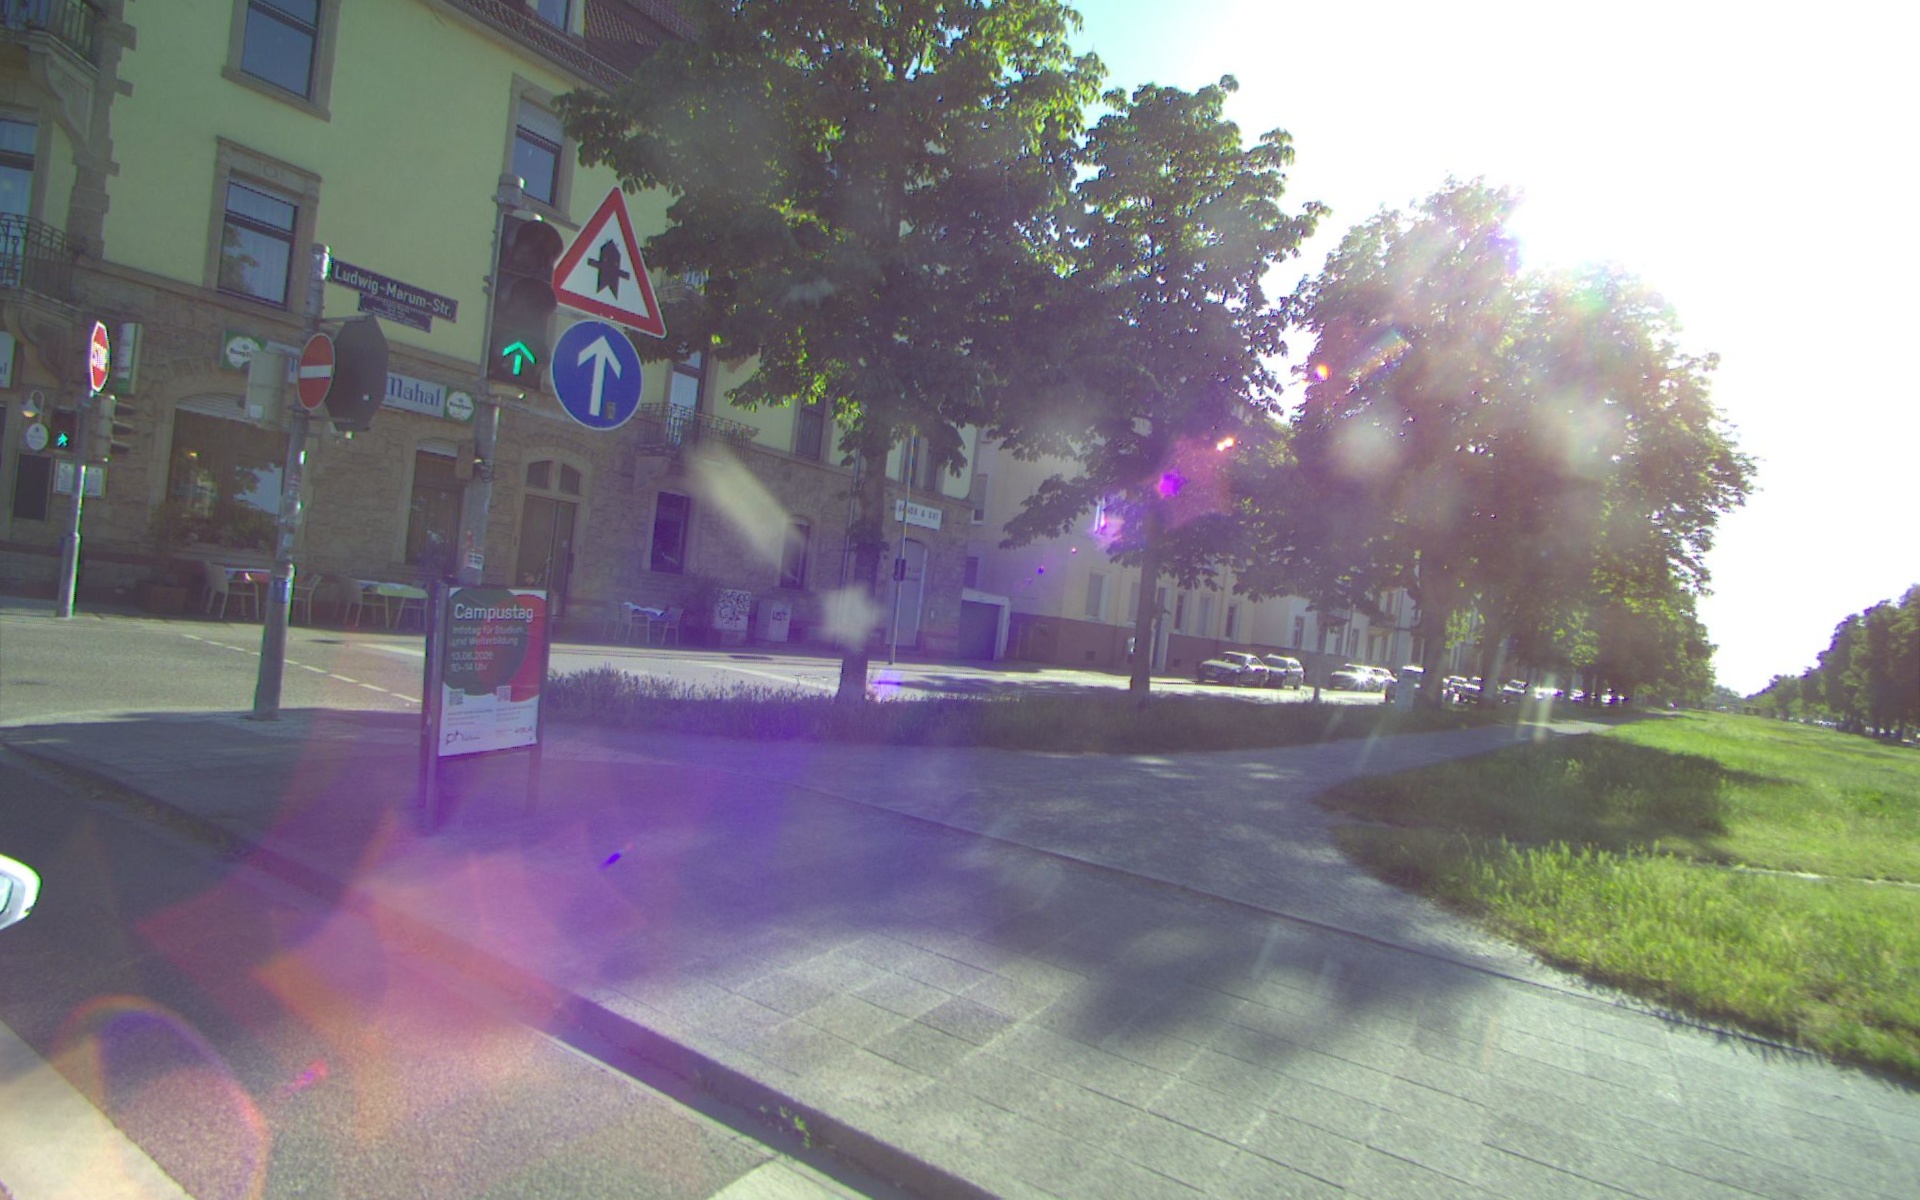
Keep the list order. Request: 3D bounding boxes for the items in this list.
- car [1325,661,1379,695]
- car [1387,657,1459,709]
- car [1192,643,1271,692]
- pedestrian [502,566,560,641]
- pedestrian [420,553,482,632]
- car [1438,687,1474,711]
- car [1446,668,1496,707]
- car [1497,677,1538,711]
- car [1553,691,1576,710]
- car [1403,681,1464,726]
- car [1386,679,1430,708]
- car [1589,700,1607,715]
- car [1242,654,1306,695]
[{"bbox_3d":[22.901,4.574,58.754,1.710,1.504,3.693,7,-2,40],"label":"car"},{"bbox_3d":[21.414,3.865,46.469,1.900,1.903,3.693,7,-2,40],"label":"car"},{"bbox_3d":[11.986,2.993,44.273,1.800,1.624,3.842,10,-1,38],"label":"car"},{"bbox_3d":[-8.662,0.076,20.303,0.691,1.375,0.639,8,-1,36],"label":"pedestrian"},{"bbox_3d":[-9.623,-0.137,19.029,0.691,1.375,0.639,8,-1,36],"label":"pedestrian"},{"bbox_3d":[41.479,8.284,84.116,1.710,1.622,3.693,7,-2,40],"label":"car"},{"bbox_3d":[30.468,5.219,59.973,1.898,1.903,3.697,7,-2,36],"label":"car"},{"bbox_3d":[42.038,7.077,75.801,1.899,2.054,4.650,7,-2,38],"label":"car"},{"bbox_3d":[63.083,10.483,104.898,1.625,1.536,3.396,7,-2,36],"label":"car"},{"bbox_3d":[24.274,5.324,51.516,1.898,1.903,4.057,7,-2,36],"label":"car"},{"bbox_3d":[31.522,6.598,70.724,1.710,1.622,3.693,7,-2,40],"label":"car"},{"bbox_3d":[82.241,13.869,129.729,1.625,1.536,3.396,7,-2,36],"label":"car"},{"bbox_3d":[15.226,3.631,48.713,1.708,1.530,3.697,7,-2,36],"label":"car"}]
